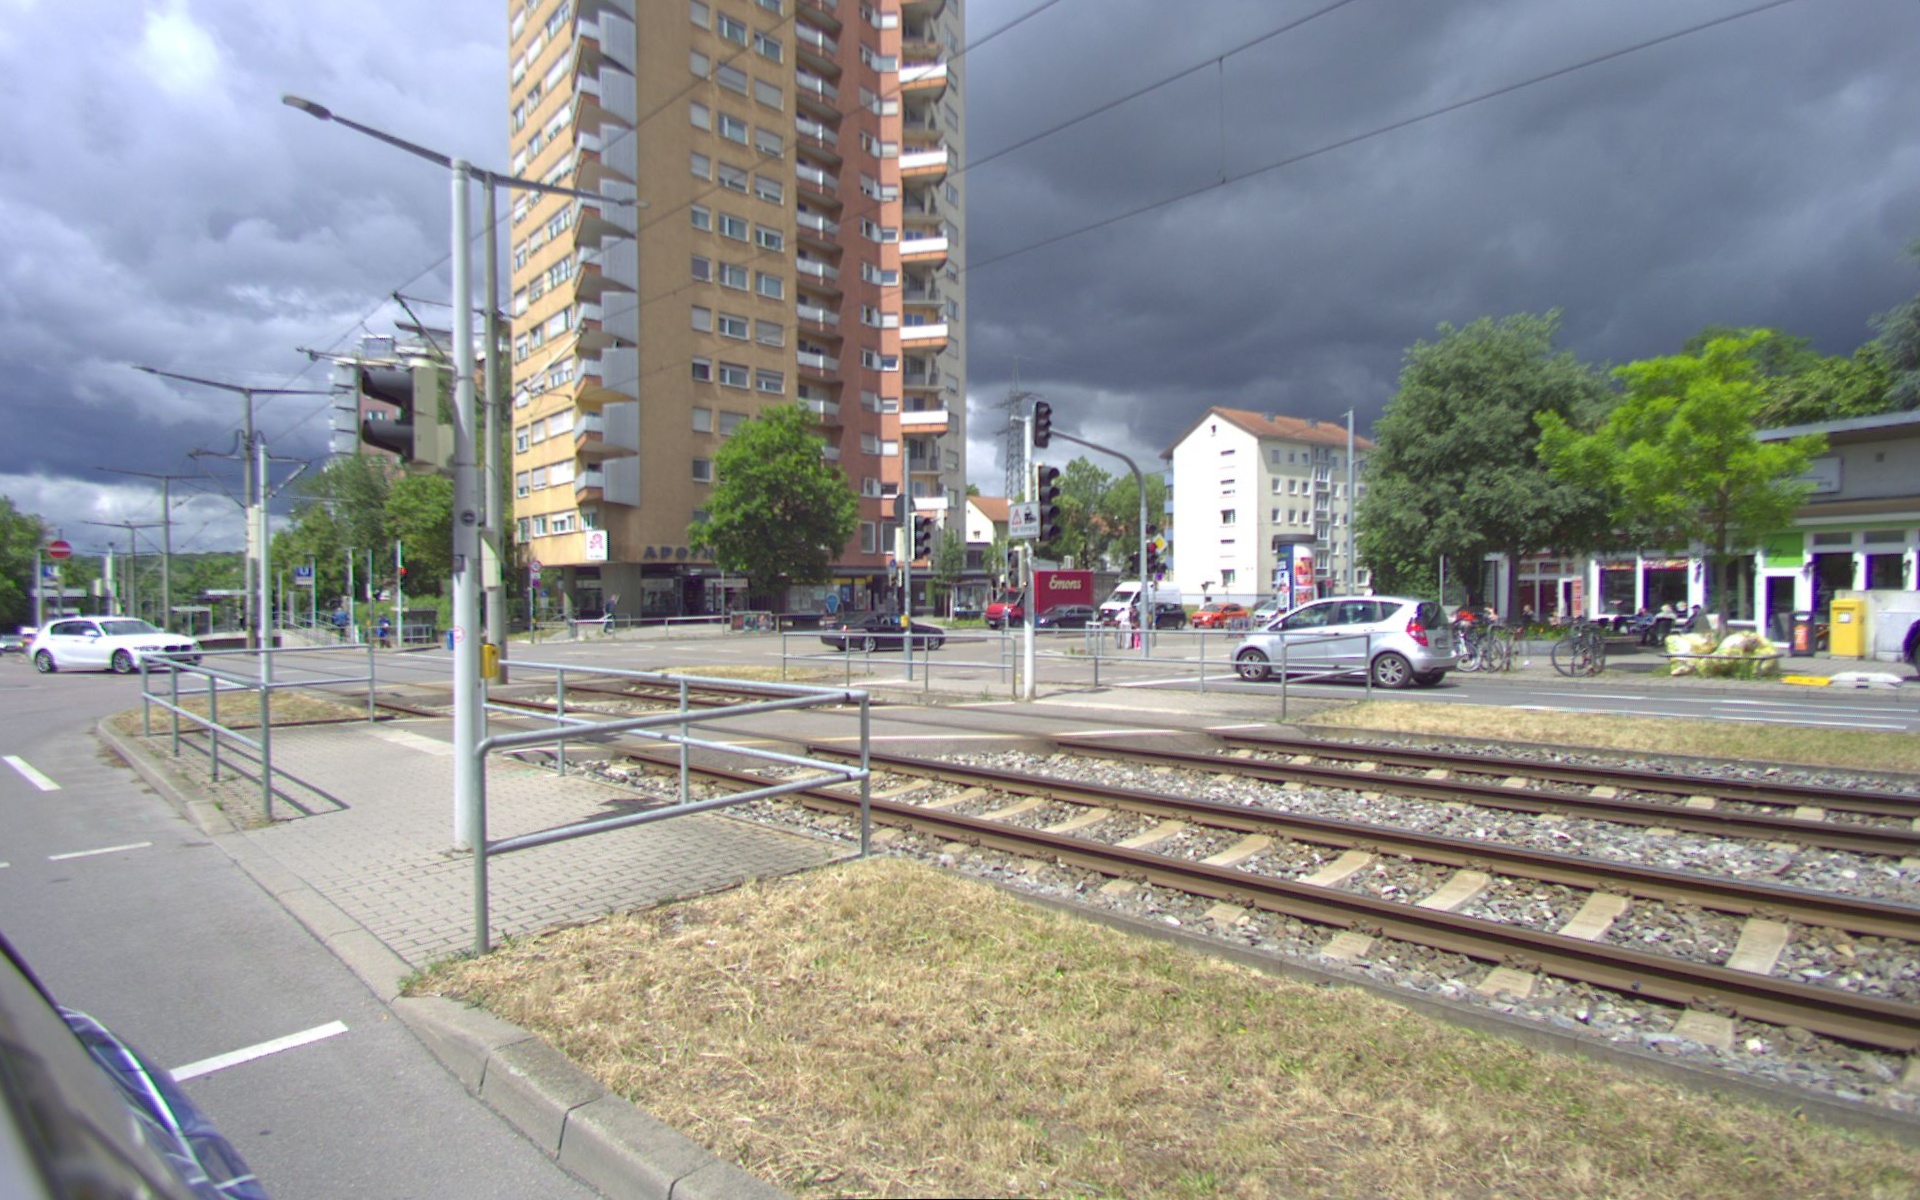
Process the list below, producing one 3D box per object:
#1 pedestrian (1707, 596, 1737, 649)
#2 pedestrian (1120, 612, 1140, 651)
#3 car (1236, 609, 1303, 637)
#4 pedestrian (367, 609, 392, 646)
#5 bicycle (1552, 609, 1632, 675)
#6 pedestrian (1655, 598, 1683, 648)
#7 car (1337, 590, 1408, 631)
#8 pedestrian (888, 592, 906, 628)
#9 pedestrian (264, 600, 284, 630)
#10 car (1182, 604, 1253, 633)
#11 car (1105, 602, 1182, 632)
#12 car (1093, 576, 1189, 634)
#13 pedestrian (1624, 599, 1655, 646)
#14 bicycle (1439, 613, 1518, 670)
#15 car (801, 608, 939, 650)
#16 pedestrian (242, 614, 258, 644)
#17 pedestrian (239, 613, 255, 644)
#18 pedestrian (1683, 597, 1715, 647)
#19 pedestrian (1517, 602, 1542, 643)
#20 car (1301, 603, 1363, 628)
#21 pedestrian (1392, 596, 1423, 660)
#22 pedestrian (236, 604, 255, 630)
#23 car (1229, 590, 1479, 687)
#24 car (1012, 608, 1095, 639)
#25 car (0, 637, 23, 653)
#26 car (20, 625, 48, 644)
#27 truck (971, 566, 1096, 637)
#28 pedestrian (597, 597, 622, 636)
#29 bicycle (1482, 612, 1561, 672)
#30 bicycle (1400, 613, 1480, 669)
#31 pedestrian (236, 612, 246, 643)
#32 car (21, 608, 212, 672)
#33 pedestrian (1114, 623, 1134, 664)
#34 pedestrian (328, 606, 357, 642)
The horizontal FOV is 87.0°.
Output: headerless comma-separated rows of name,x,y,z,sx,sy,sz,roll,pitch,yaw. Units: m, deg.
pedestrian,21.816,0.646,28.990,0.518,1.483,0.573,1,-2,-43
pedestrian,6.445,1.190,38.365,0.562,1.483,0.528,0,-1,-19
car,19.106,1.407,62.411,3.934,1.614,2.004,0,-2,-37
pedestrian,-24.623,1.155,42.948,0.641,1.525,0.720,-1,-1,4
bicycle,11.569,0.737,18.489,0.717,1.042,2.400,-2,0,44
pedestrian,21.226,0.676,30.300,0.518,1.483,0.573,1,-2,-43
car,28.782,0.737,70.545,4.816,2.809,2.442,0,-2,-37
pedestrian,-3.274,0.519,52.742,0.638,1.825,0.883,-1,-1,18
pedestrian,-40.969,0.895,60.417,0.748,1.787,0.853,-2,-2,45
car,15.098,1.080,59.386,3.934,1.614,2.004,0,-2,-37
car,10.153,0.952,55.864,3.934,1.614,2.004,0,-2,-37
car,10.908,0.298,60.661,6.202,3.324,2.004,0,-2,-37
pedestrian,21.754,0.715,32.406,0.563,1.483,0.527,0,-1,-13
bicycle,10.300,0.798,20.055,0.705,1.074,2.399,-2,-2,44
car,-3.138,0.988,35.863,4.601,1.409,1.981,1,-1,-40
pedestrian,-46.736,1.897,66.582,0.573,1.946,0.760,-2,-2,44
pedestrian,-47.318,1.883,67.141,0.769,2.029,0.585,1,-2,-44
pedestrian,22.313,0.672,30.562,0.562,1.483,0.527,0,-1,-16
pedestrian,20.695,0.810,36.772,0.563,1.483,0.527,0,-1,-13
car,24.584,1.034,66.842,3.934,1.614,2.004,0,-2,-37
pedestrian,11.694,0.733,26.446,0.600,1.655,0.412,-2,-2,42
pedestrian,-45.457,1.097,64.380,0.748,1.618,0.853,-2,-2,45
car,6.973,0.666,18.167,1.796,1.544,3.759,1,-2,-42
car,4.805,1.183,51.749,3.936,1.506,2.004,0,-2,-39
car,-75.179,3.516,79.734,1.779,1.224,4.028,1,-2,-40
car,-105.850,3.909,115.667,3.999,2.165,1.972,-2,-2,42
truck,4.123,0.112,55.633,6.987,3.702,2.551,0,-2,-39
pedestrian,-17.383,0.825,50.241,0.854,1.949,0.907,-2,-2,45
bicycle,10.865,0.782,19.530,0.705,1.074,2.399,-2,-2,44
bicycle,9.781,0.813,20.581,0.705,1.074,2.399,-2,-2,44
pedestrian,-49.756,1.897,70.013,0.524,2.158,0.609,1,-2,-41
car,-21.543,1.040,25.879,4.240,1.462,1.784,-2,-2,18
pedestrian,6.106,1.617,37.706,0.510,1.483,0.528,0,-1,-19
pedestrian,-29.119,1.115,47.711,0.721,1.609,0.898,-1,3,45
